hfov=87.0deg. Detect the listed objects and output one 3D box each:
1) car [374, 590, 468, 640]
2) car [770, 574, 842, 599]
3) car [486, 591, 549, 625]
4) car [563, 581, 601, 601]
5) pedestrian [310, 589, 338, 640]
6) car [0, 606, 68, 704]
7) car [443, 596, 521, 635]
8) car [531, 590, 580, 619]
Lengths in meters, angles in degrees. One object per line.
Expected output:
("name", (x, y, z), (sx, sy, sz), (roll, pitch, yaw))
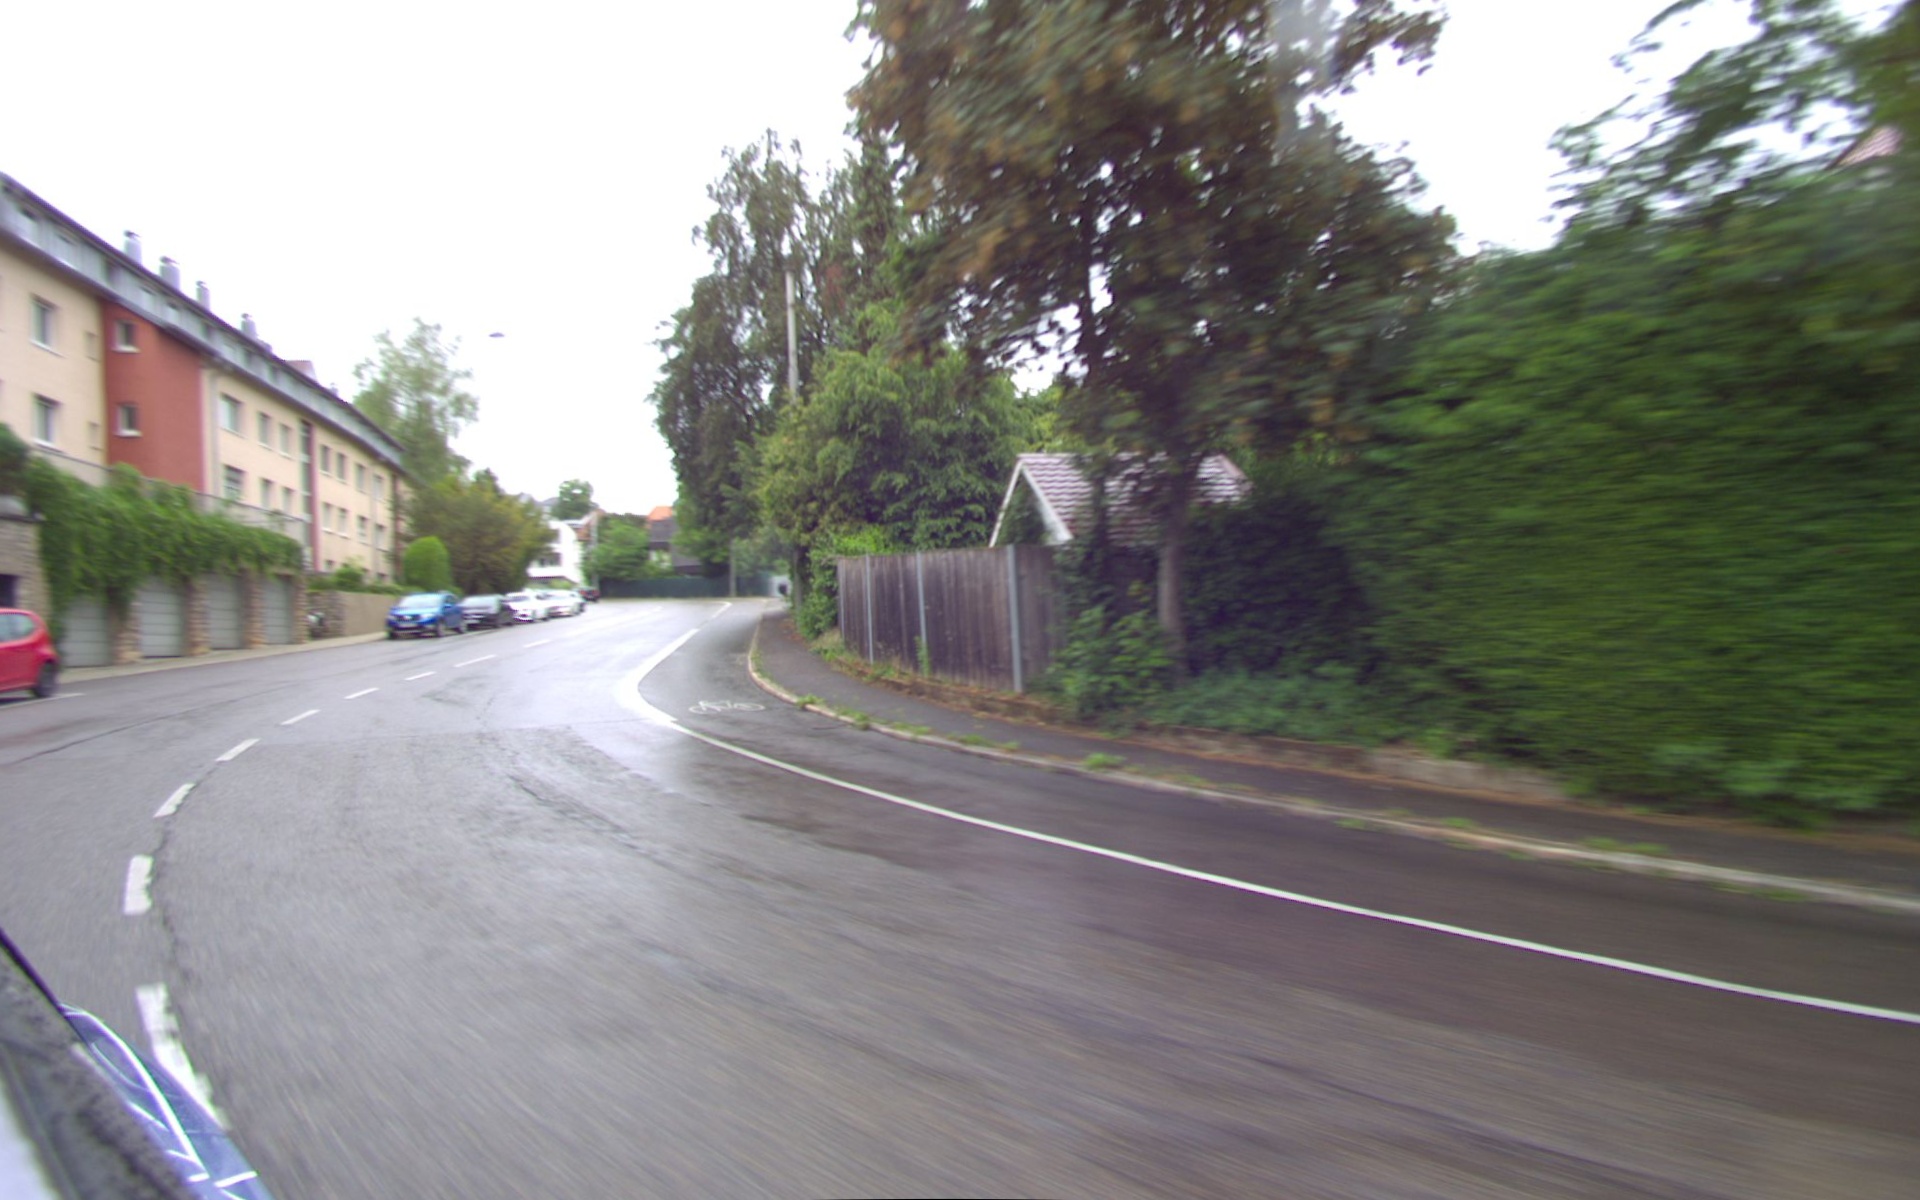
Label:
("car", (-19.022, 0.495, 35.931), (1.711, 1.605, 4.263), (-2, 0, -11))
("car", (-9.511, -0.831, 62.392), (3.976, 1.311, 1.882), (-2, 1, 24))
("car", (-21.000, 0.370, 48.214), (1.783, 1.466, 4.263), (-2, 1, -11))
("car", (-32.138, -0.760, 85.932), (1.630, 1.430, 3.807), (-7, 4, -42))
("pedestrian", (-21.278, 0.493, 33.851), (0.612, 1.663, 0.615), (-4, 2, -41))
("car", (-15.067, 0.828, 14.886), (1.592, 1.446, 3.592), (0, 0, -18))
("car", (-19.842, 0.599, 42.179), (1.668, 1.466, 4.261), (-2, 0, -7))
("car", (-22.940, 0.222, 57.527), (1.756, 1.446, 4.580), (-4, 1, -12))
